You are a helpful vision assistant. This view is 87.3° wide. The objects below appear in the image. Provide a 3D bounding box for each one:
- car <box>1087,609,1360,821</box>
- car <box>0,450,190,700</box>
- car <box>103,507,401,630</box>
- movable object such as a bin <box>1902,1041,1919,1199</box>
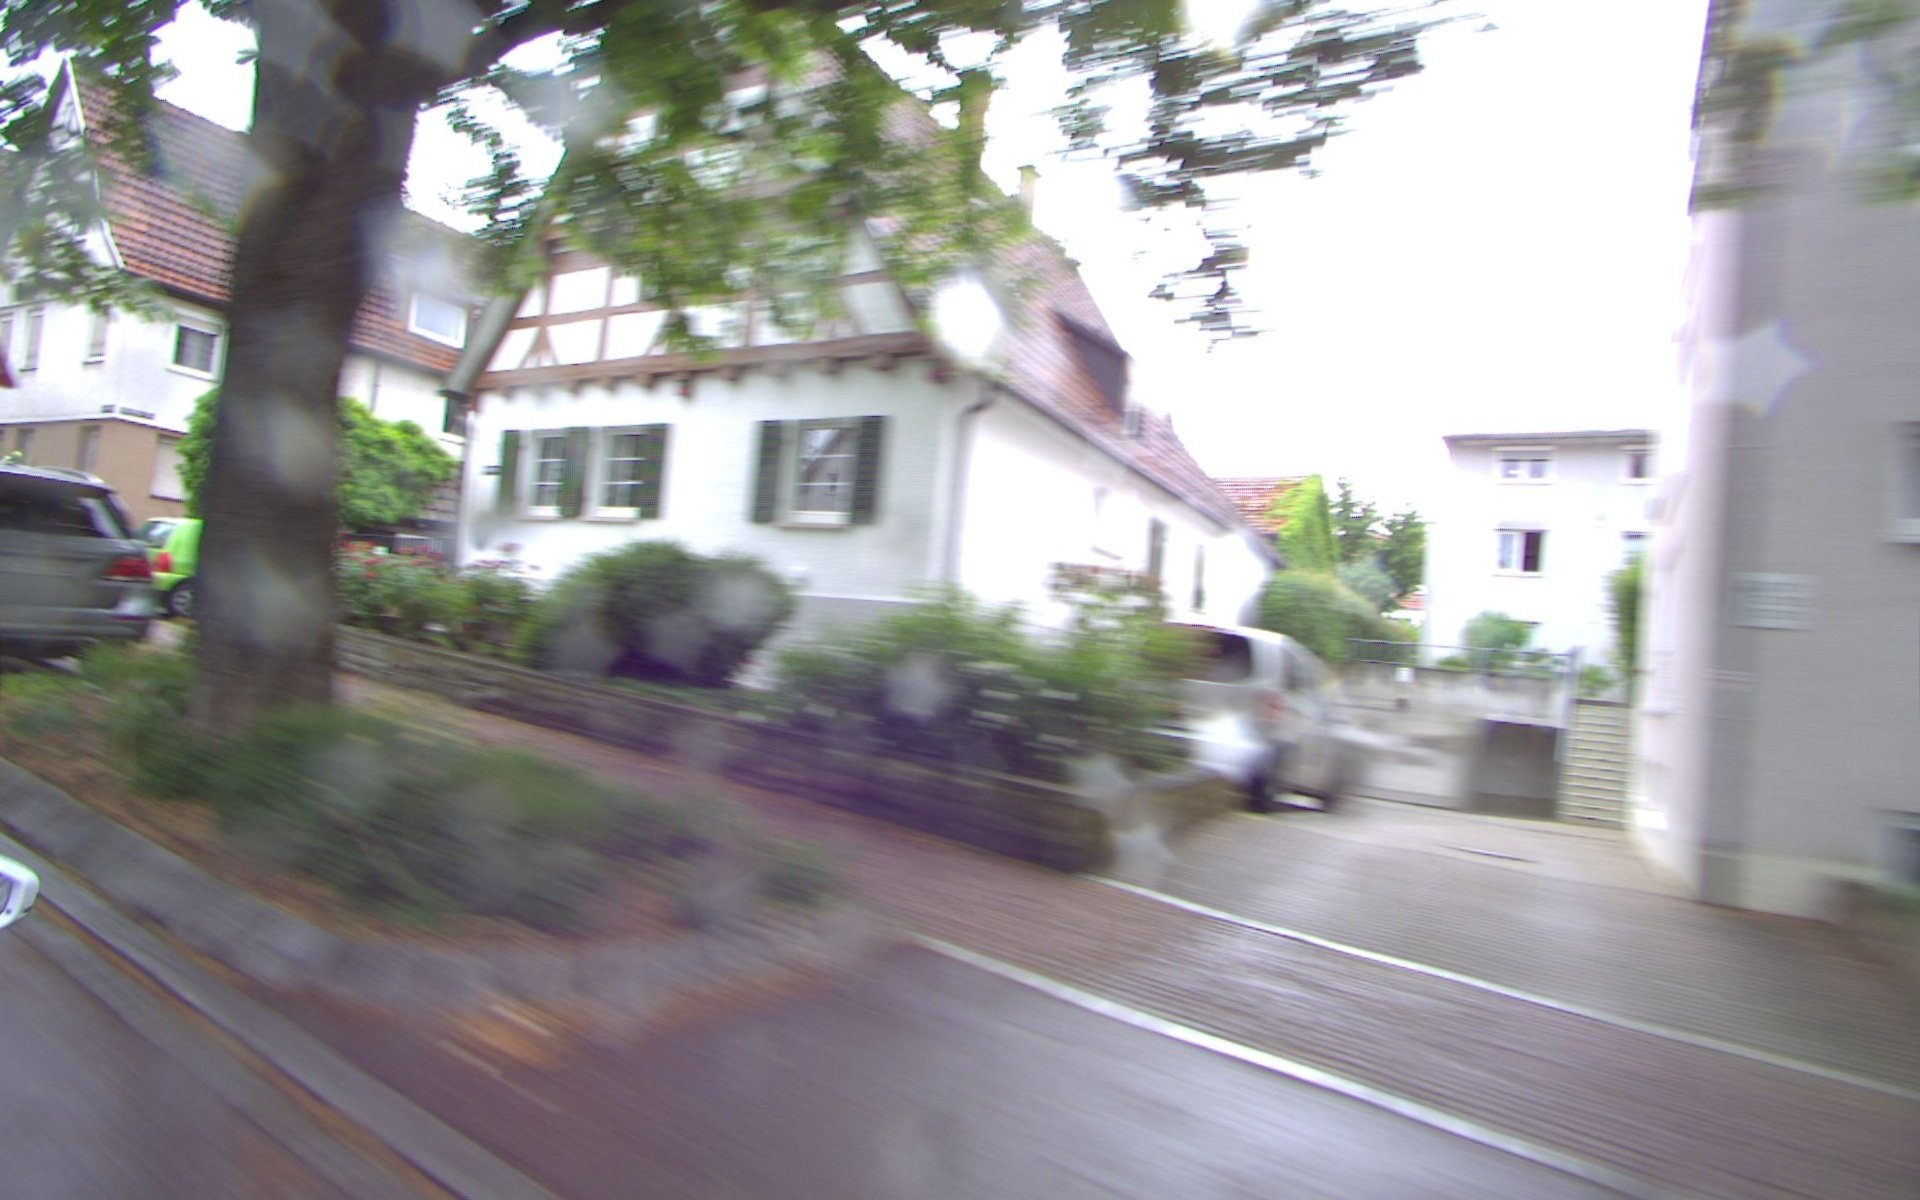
[{"bbox_3d":[3.448,1.509,12.388,1.966,1.918,4.480,6,-6,30],"label":"car"},{"bbox_3d":[-8.875,-0.392,8.655,4.413,1.813,1.919,7,-2,31],"label":"car"},{"bbox_3d":[-10.915,-0.426,15.736,1.602,1.448,3.371,7,-1,28],"label":"car"},{"bbox_3d":[2.936,1.243,2.116,1.116,1.331,1.226,7,-1,34],"label":"movable object such as a bin"}]
